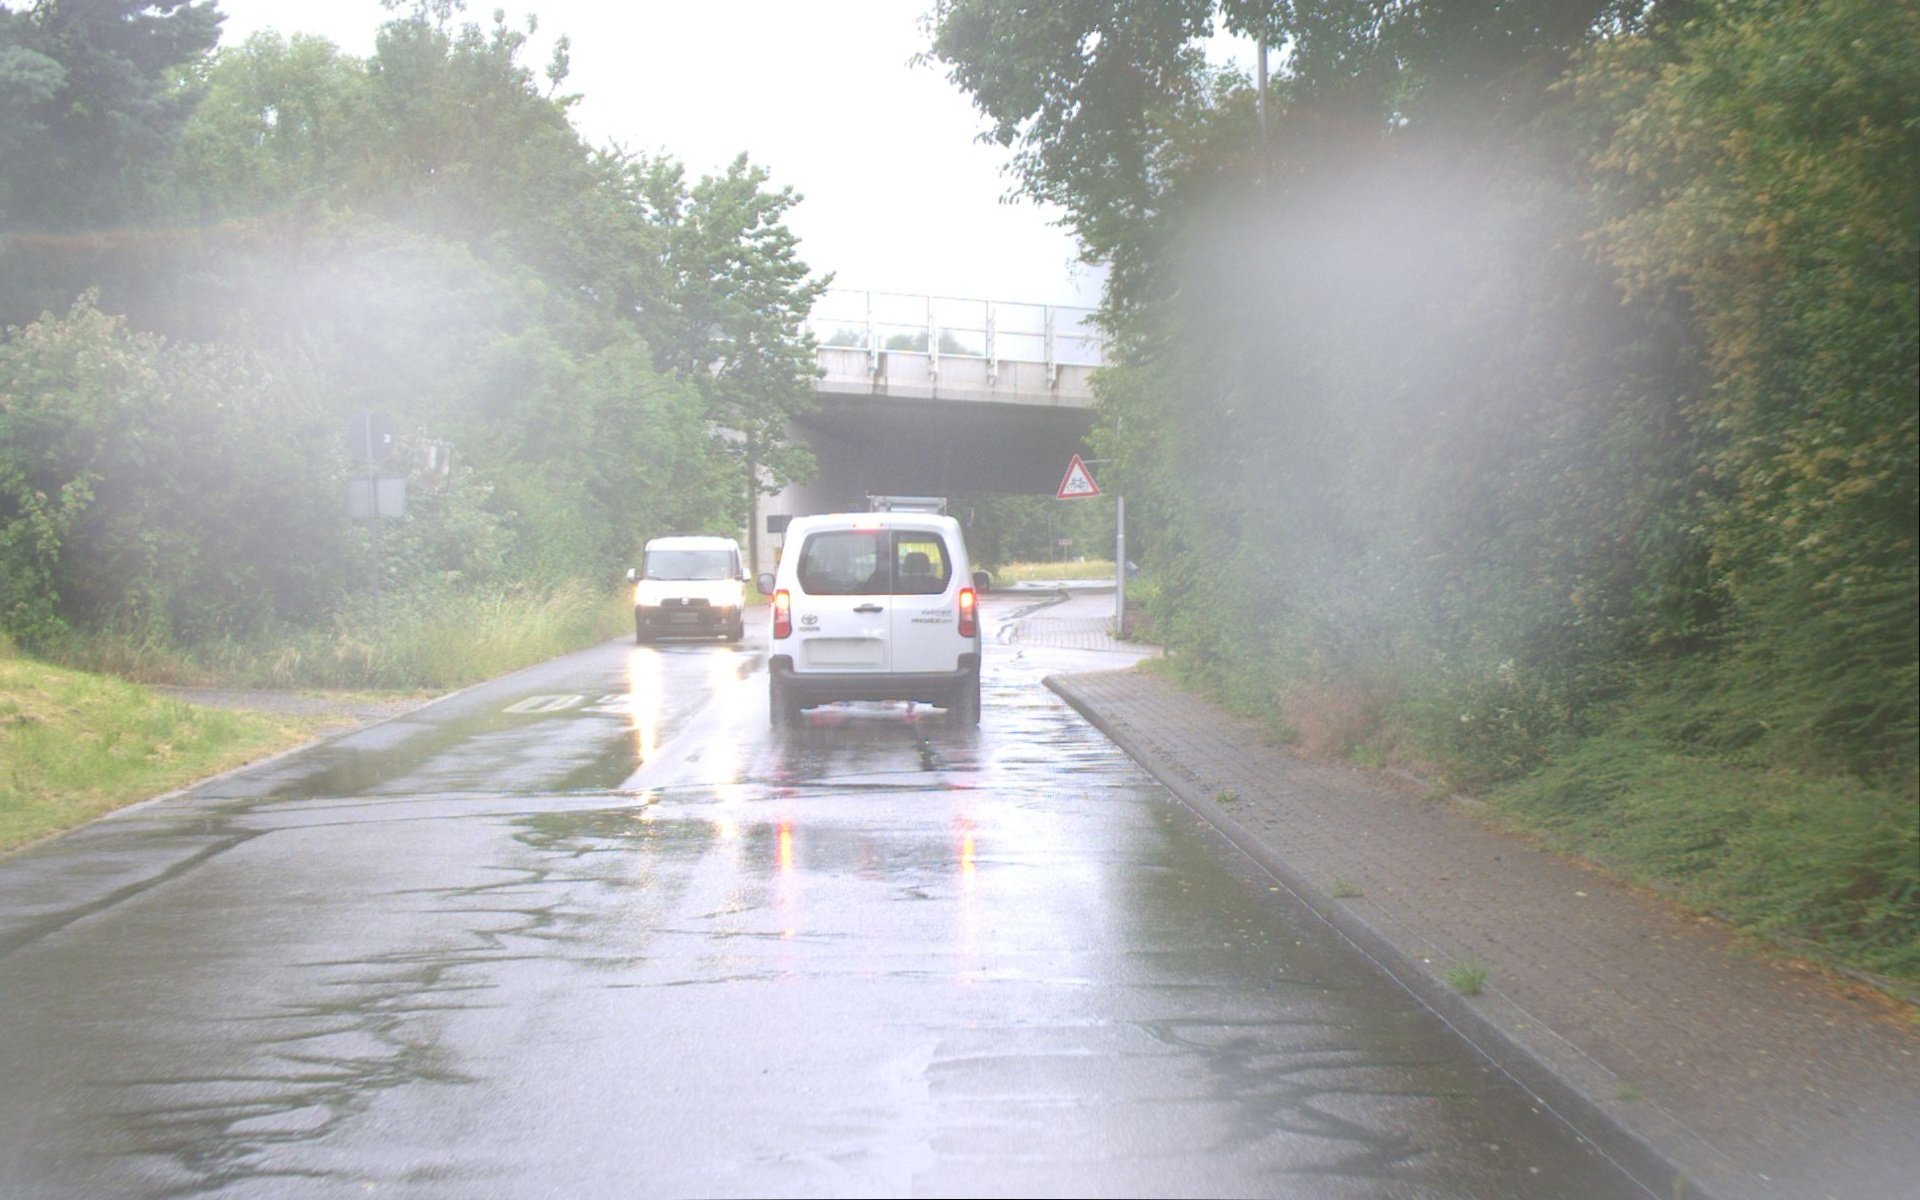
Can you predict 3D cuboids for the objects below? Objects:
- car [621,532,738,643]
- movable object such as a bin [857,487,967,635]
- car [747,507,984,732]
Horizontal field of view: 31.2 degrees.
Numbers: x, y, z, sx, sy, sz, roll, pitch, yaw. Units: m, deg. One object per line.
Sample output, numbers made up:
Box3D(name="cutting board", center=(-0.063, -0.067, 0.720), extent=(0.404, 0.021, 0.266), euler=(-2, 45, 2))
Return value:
Box3D(name="car", center=(-4.765, -0.237, 58.918), extent=(1.823, 1.825, 4.308), euler=(0, 1, -2))
Box3D(name="movable object such as a bin", center=(-0.824, -0.698, 61.300), extent=(1.761, 2.539, 4.239), euler=(0, 1, 2))
Box3D(name="car", center=(-0.781, 0.109, 30.131), extent=(1.896, 1.800, 4.000), euler=(-1, 1, 0))
